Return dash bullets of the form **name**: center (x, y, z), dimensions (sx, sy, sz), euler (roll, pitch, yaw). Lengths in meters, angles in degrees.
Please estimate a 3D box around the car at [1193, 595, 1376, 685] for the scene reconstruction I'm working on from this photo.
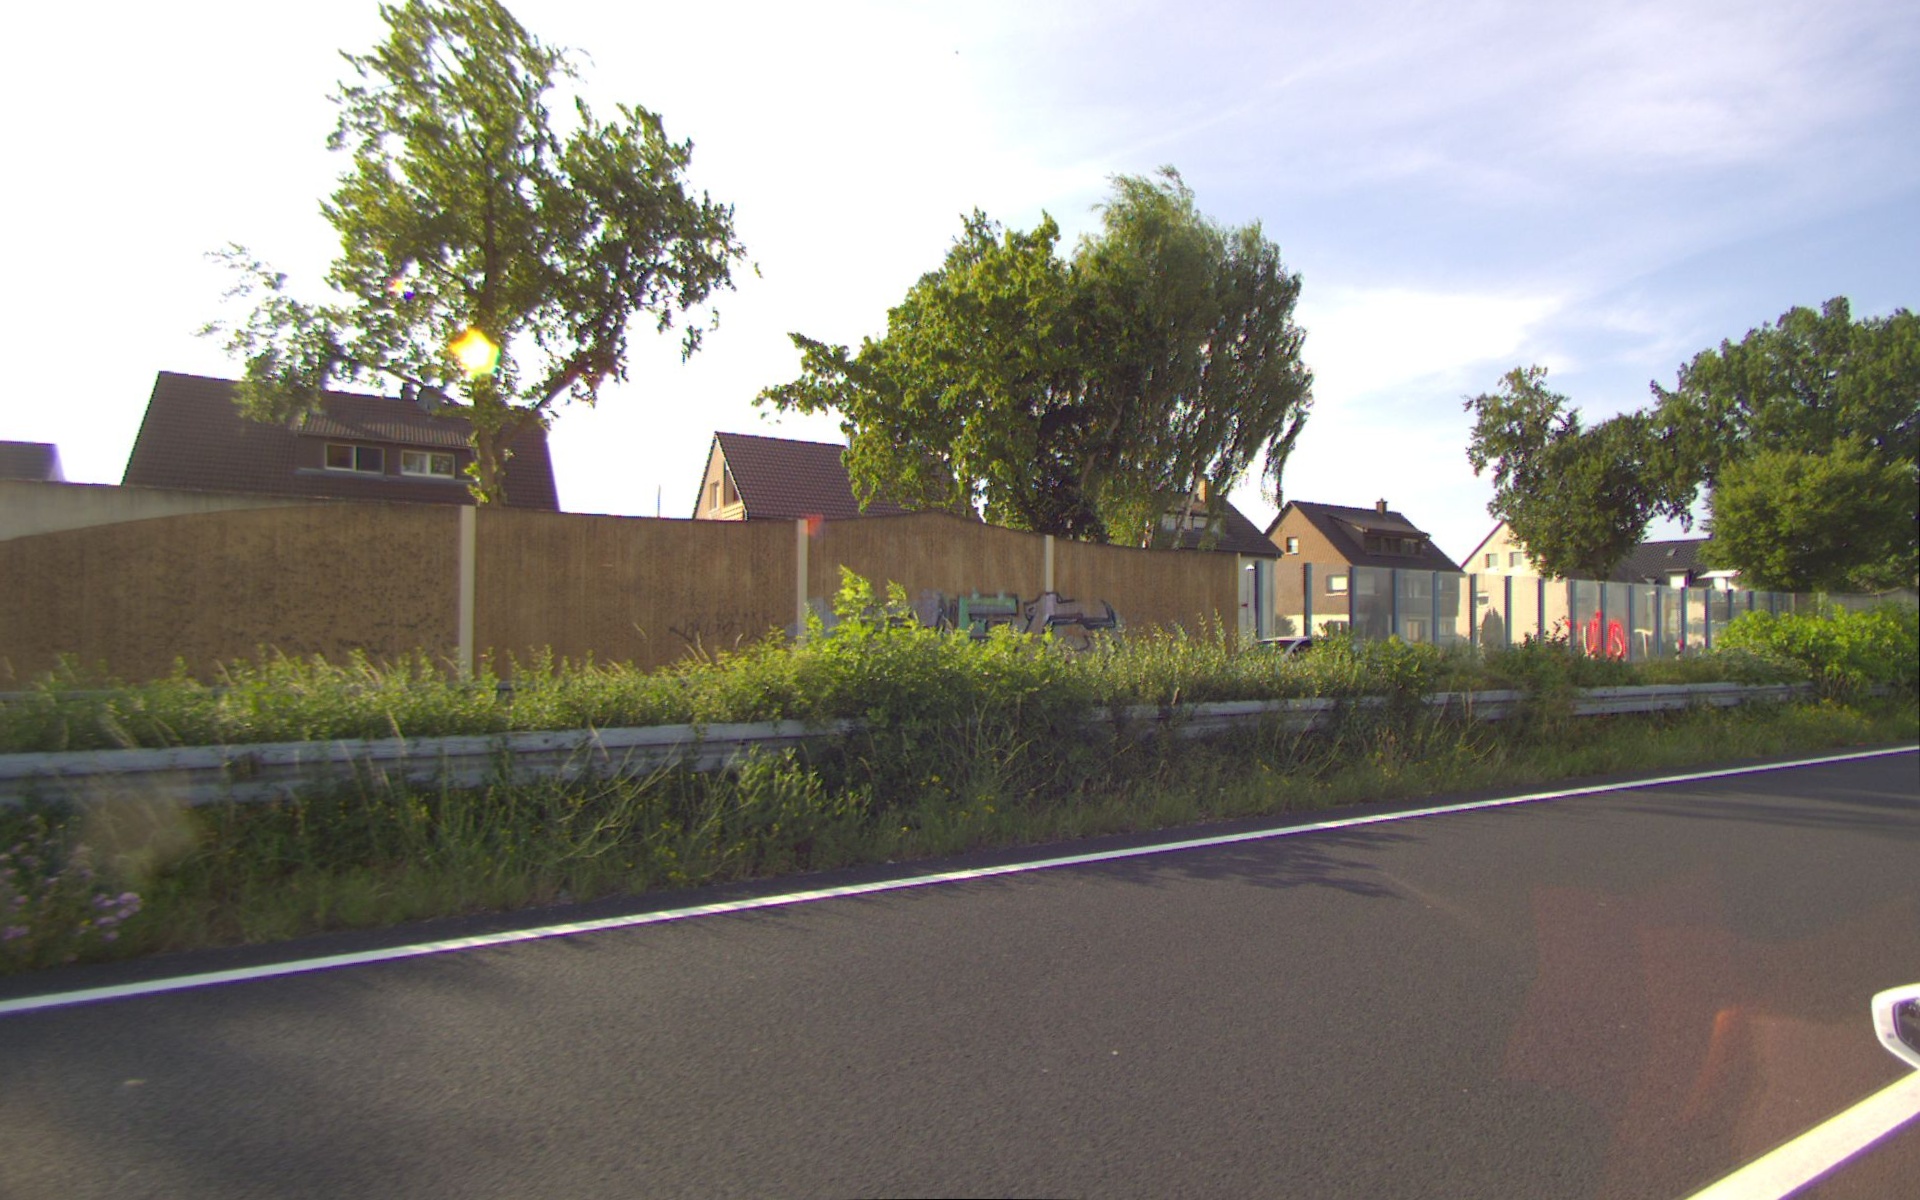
- **car**: center (6.631, 0.796, 20.500), dimensions (3.296, 1.684, 1.798), euler (2, 0, -30)
